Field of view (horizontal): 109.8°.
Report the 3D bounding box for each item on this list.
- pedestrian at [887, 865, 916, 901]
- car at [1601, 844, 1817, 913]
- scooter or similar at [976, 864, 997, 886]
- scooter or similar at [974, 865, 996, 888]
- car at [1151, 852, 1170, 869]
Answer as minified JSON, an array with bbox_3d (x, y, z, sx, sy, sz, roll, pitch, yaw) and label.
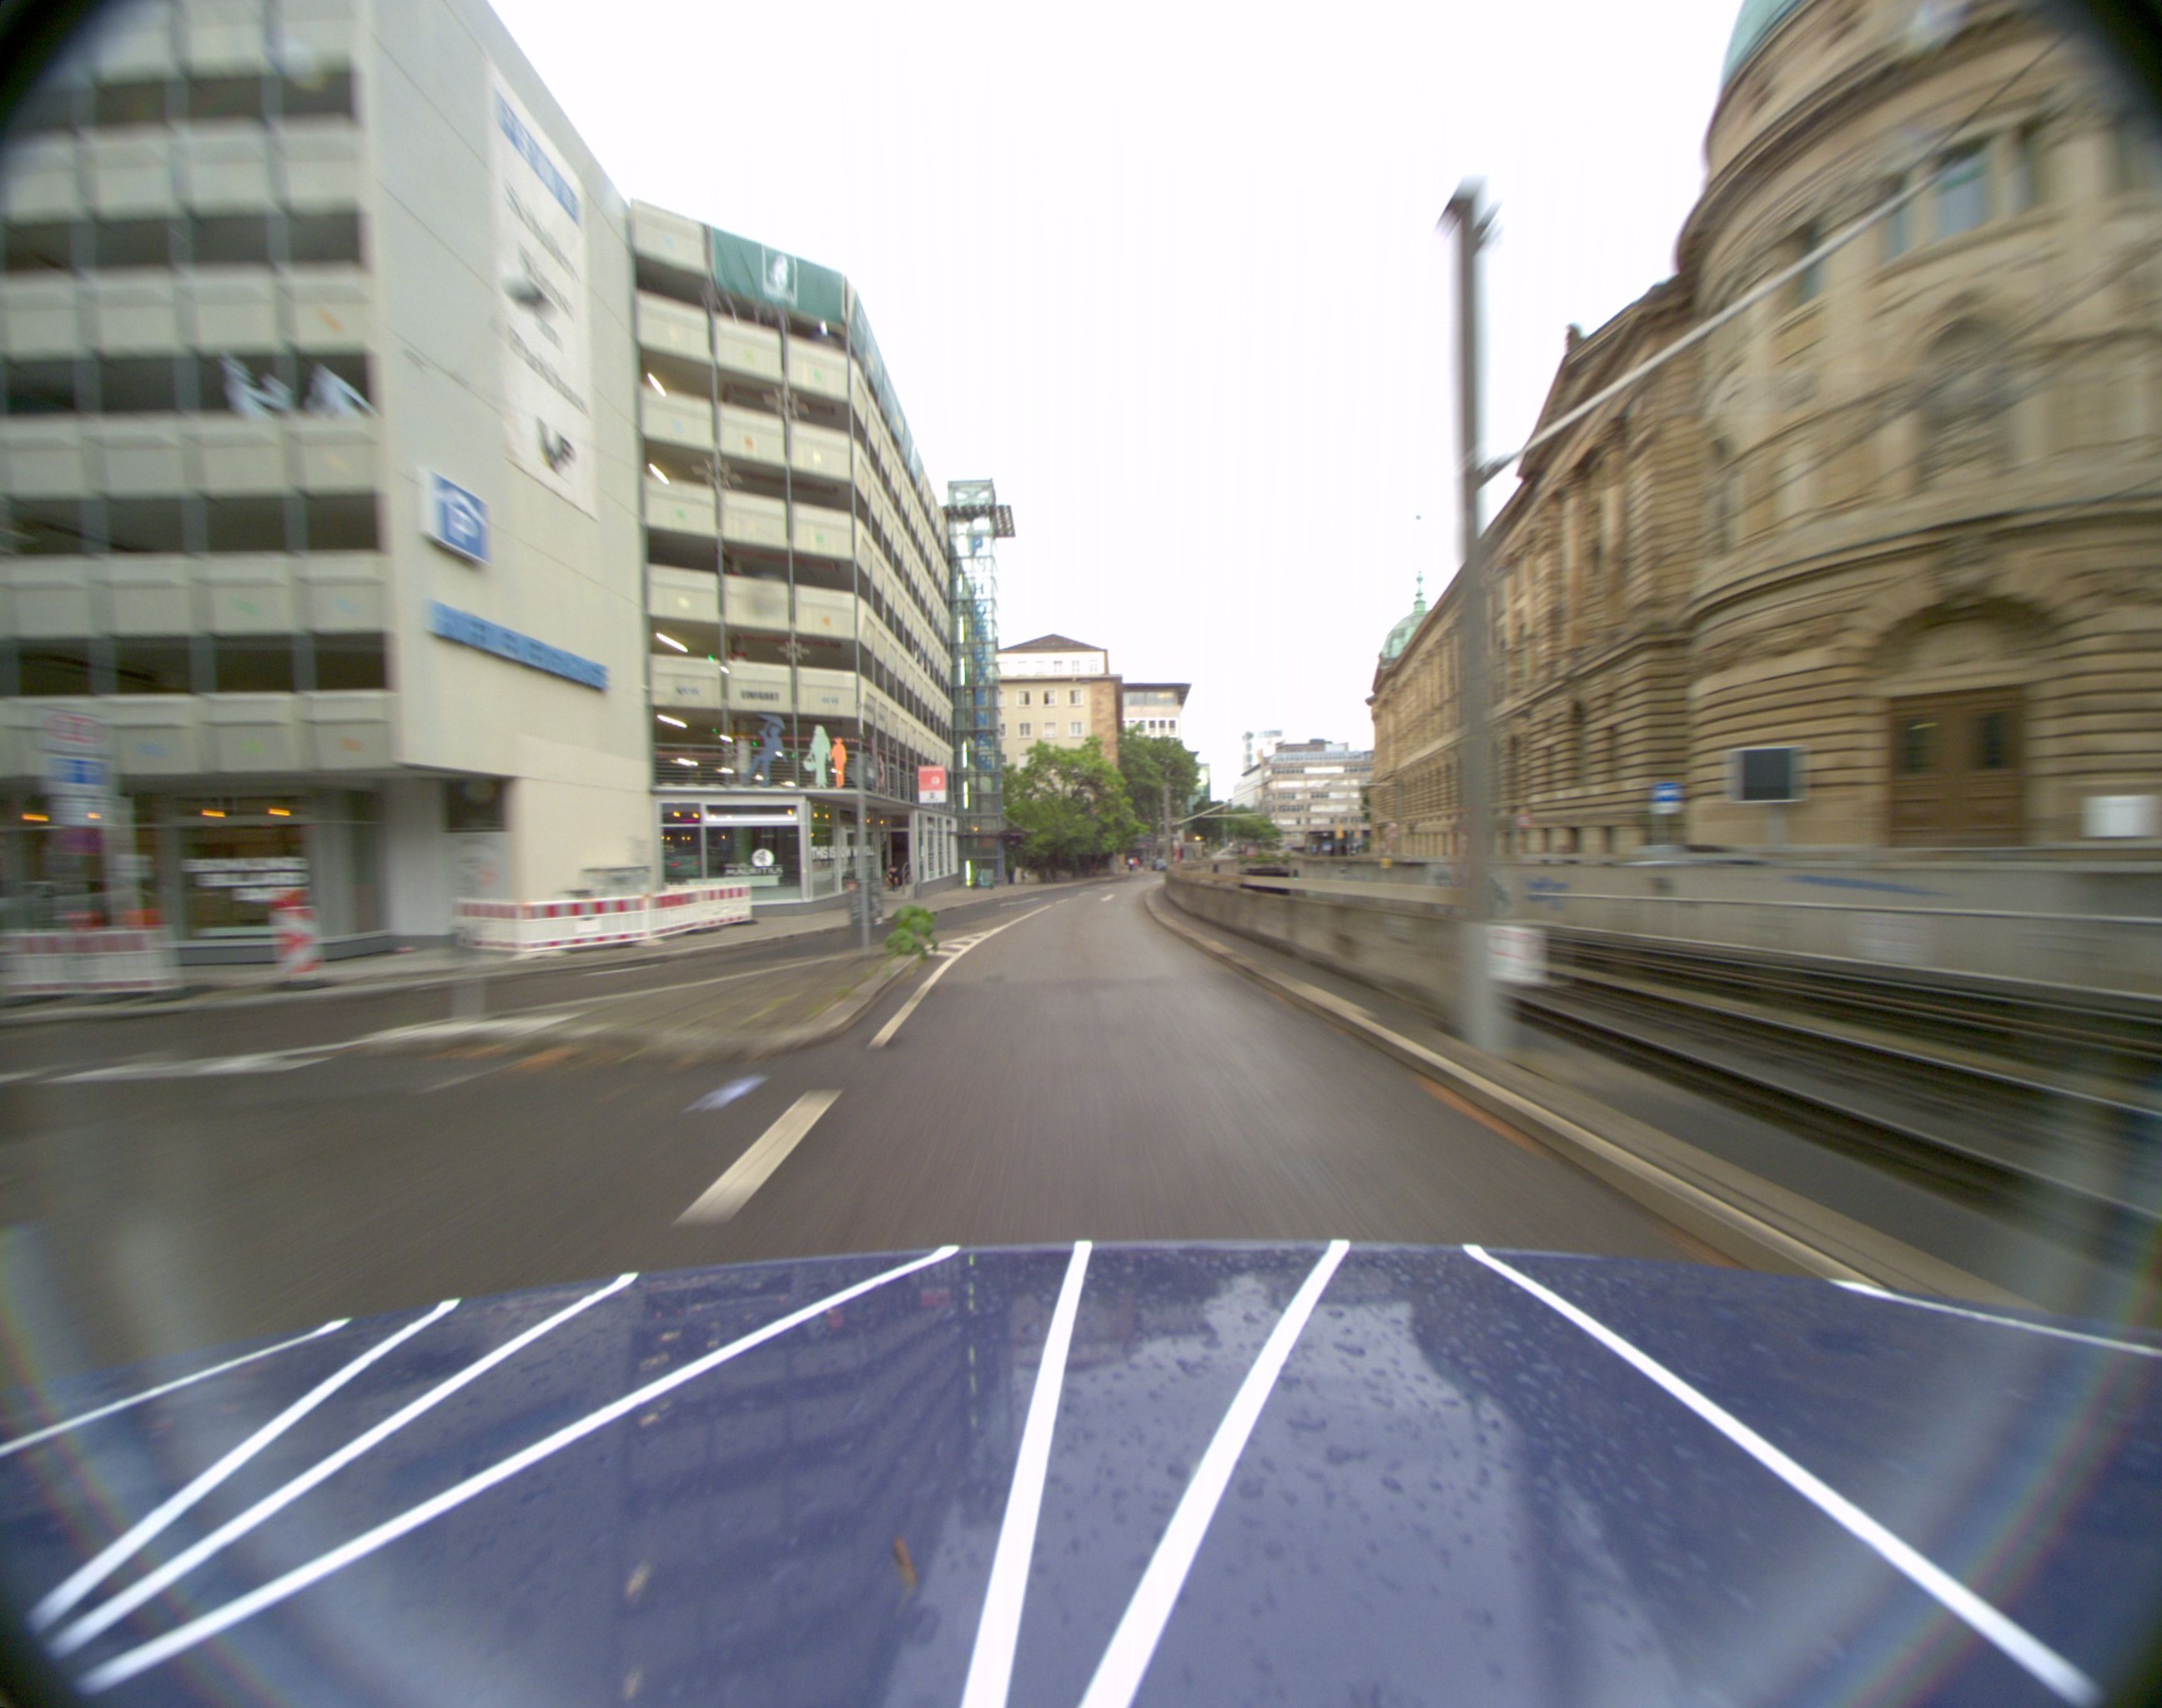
[{"bbox_3d":[-7.120,1.129,30.177,0.904,1.375,1.032,0,1,-1],"label":"pedestrian"},{"bbox_3d":[14.869,0.495,18.341,1.998,1.379,4.000,-3,1,3],"label":"car"},{"bbox_3d":[-5.188,1.164,41.701,1.078,1.167,0.465,-1,0,-22],"label":"scooter or similar"},{"bbox_3d":[-5.005,1.188,39.609,1.078,1.167,0.465,-1,0,-22],"label":"scooter or similar"},{"bbox_3d":[9.531,0.726,91.339,1.998,1.805,4.000,-3,1,2],"label":"car"}]
